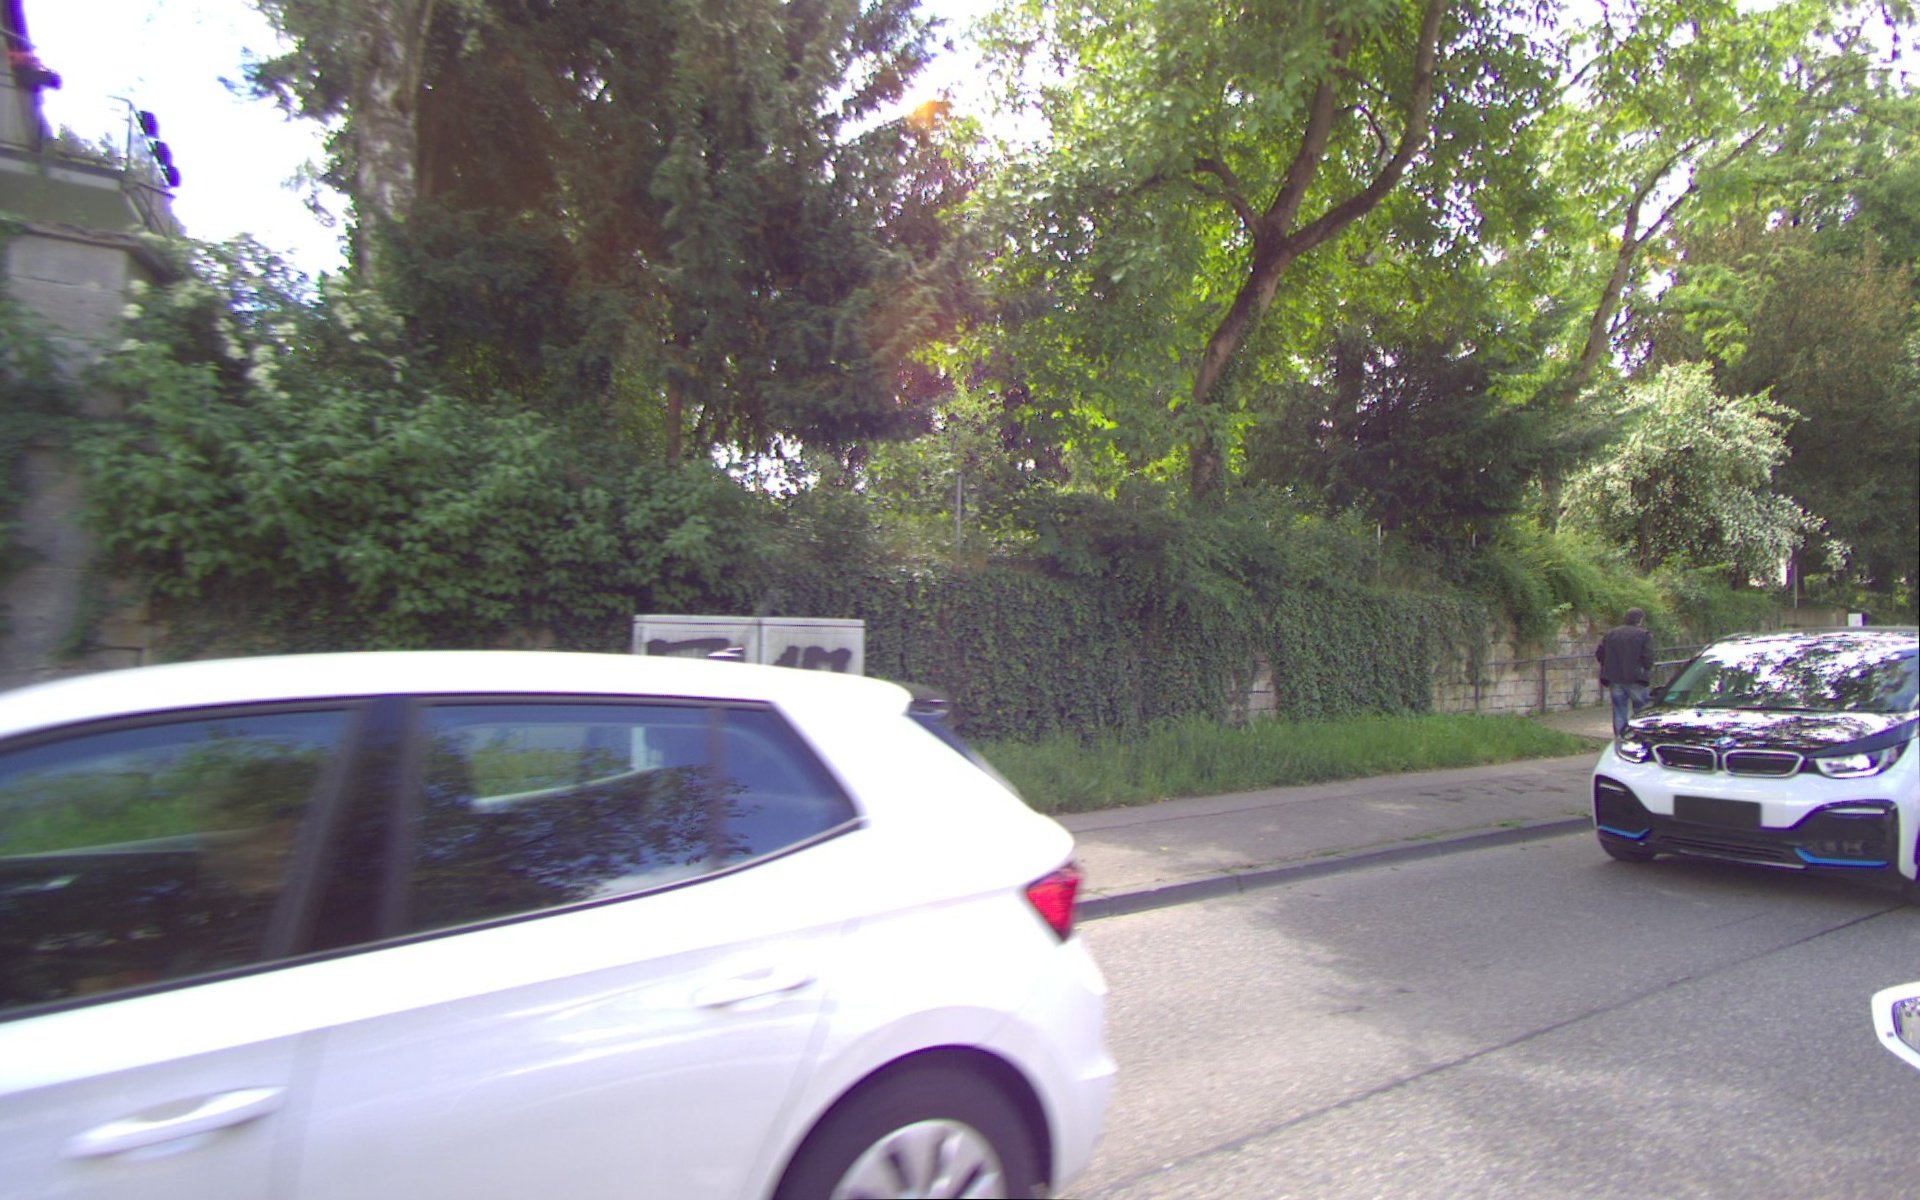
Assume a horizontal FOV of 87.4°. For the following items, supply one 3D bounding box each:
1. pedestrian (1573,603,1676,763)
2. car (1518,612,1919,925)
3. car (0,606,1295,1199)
[{"bbox_3d":[7.398,0.898,11.182,0.923,1.689,0.648,2,-1,-36],"label":"pedestrian"},{"bbox_3d":[5.979,0.937,6.946,4.039,1.566,1.919,1,-4,-31],"label":"car"},{"bbox_3d":[-1.331,0.776,2.129,3.924,1.458,1.751,1,-3,-31],"label":"car"}]
